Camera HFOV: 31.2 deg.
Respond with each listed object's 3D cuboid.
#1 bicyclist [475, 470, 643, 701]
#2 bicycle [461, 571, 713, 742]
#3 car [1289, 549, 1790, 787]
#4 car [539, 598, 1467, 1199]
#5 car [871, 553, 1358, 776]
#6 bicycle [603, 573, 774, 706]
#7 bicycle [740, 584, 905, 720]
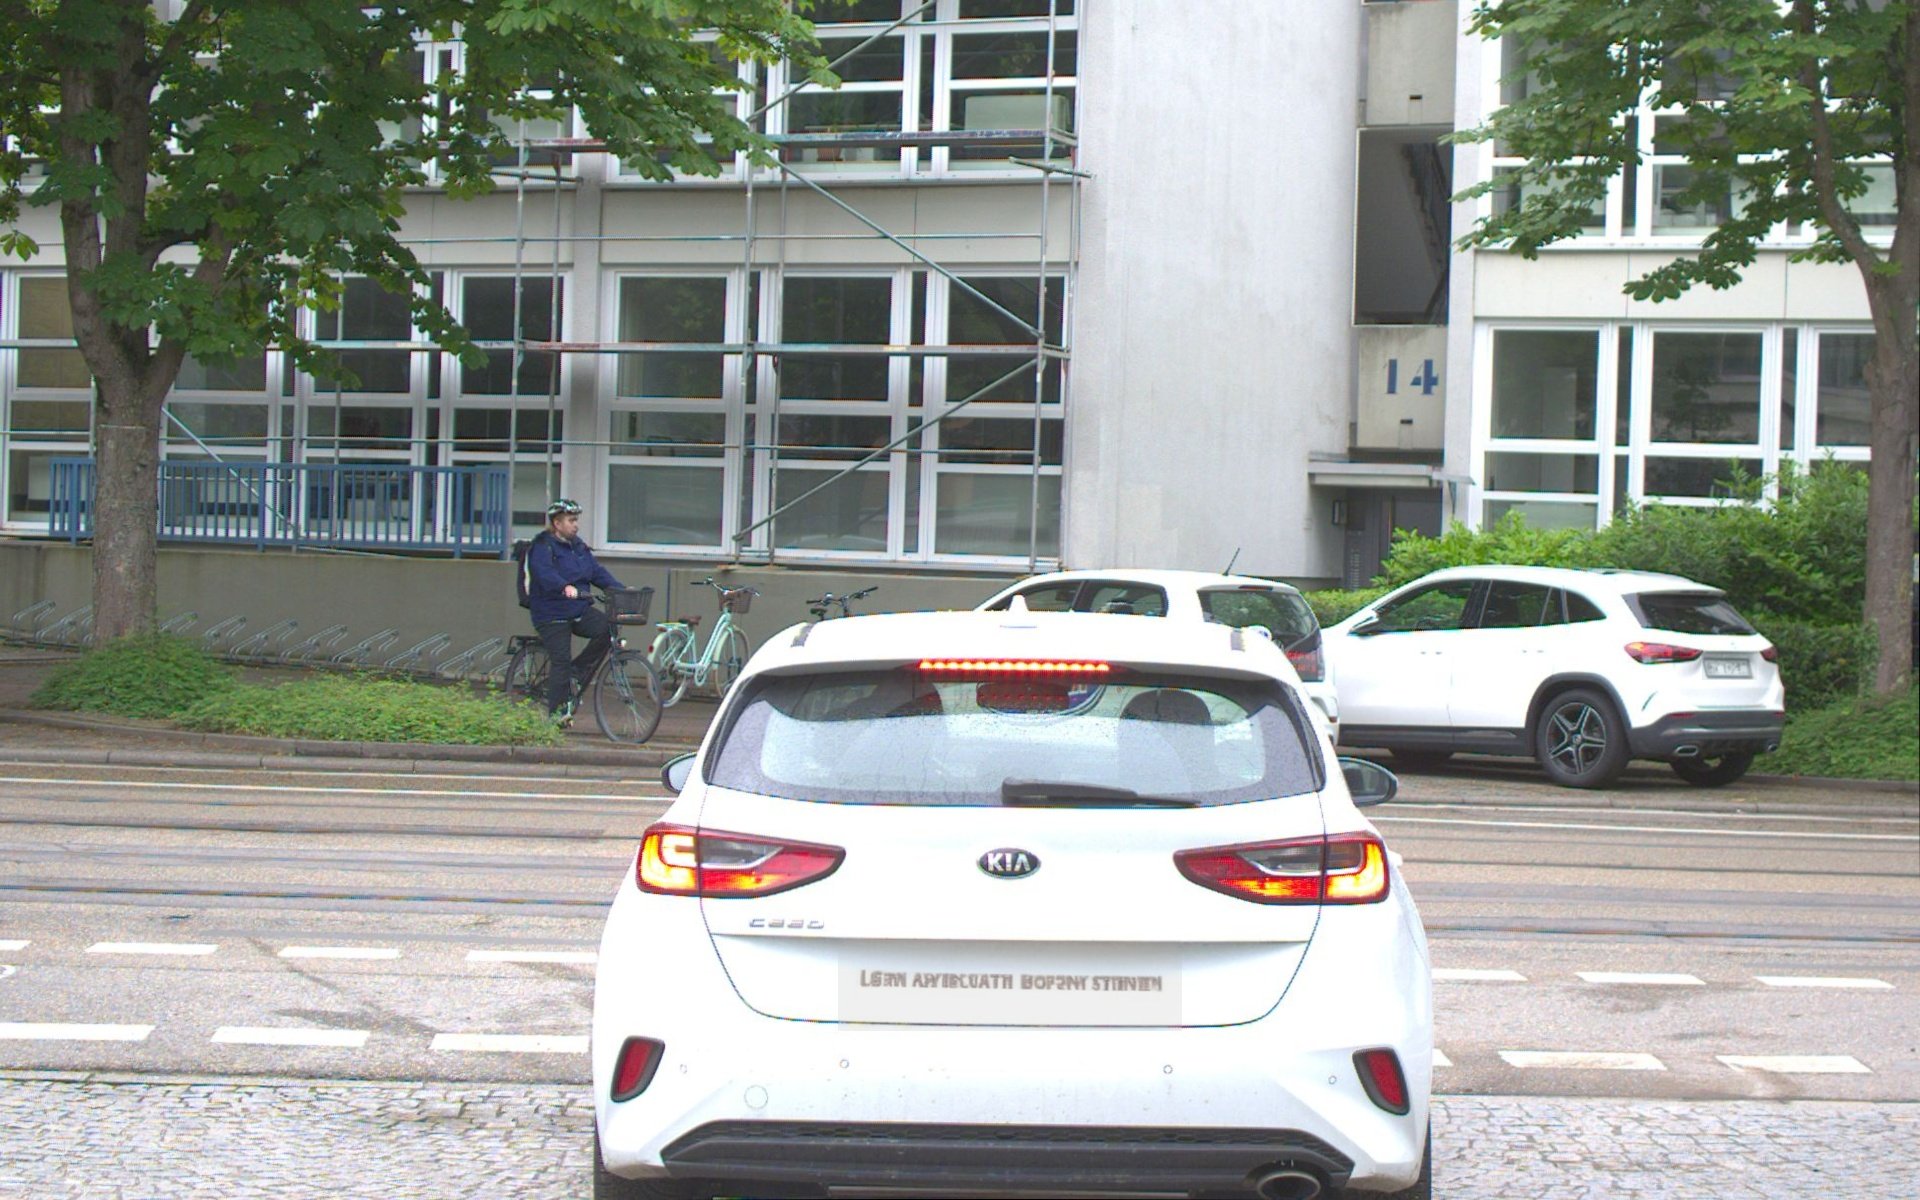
[{"bbox_3d":[-3.030,-0.112,25.941,0.832,1.692,0.896,1,1,-45],"label":"bicyclist"},{"bbox_3d":[-2.804,0.405,25.704,1.914,1.170,0.819,3,1,45],"label":"bicycle"},{"bbox_3d":[4.272,0.460,25.657,1.552,1.612,3.406,1,1,-44],"label":"car"},{"bbox_3d":[0.173,0.774,8.642,1.775,1.428,3.978,1,-1,3],"label":"car"},{"bbox_3d":[1.080,0.430,25.170,1.552,1.468,3.406,1,1,-44],"label":"car"},{"bbox_3d":[-2.464,0.339,31.481,0.645,1.071,2.310,2,3,20],"label":"bicycle"},{"bbox_3d":[-1.218,0.448,30.975,0.645,1.071,2.310,2,3,20],"label":"bicycle"}]
